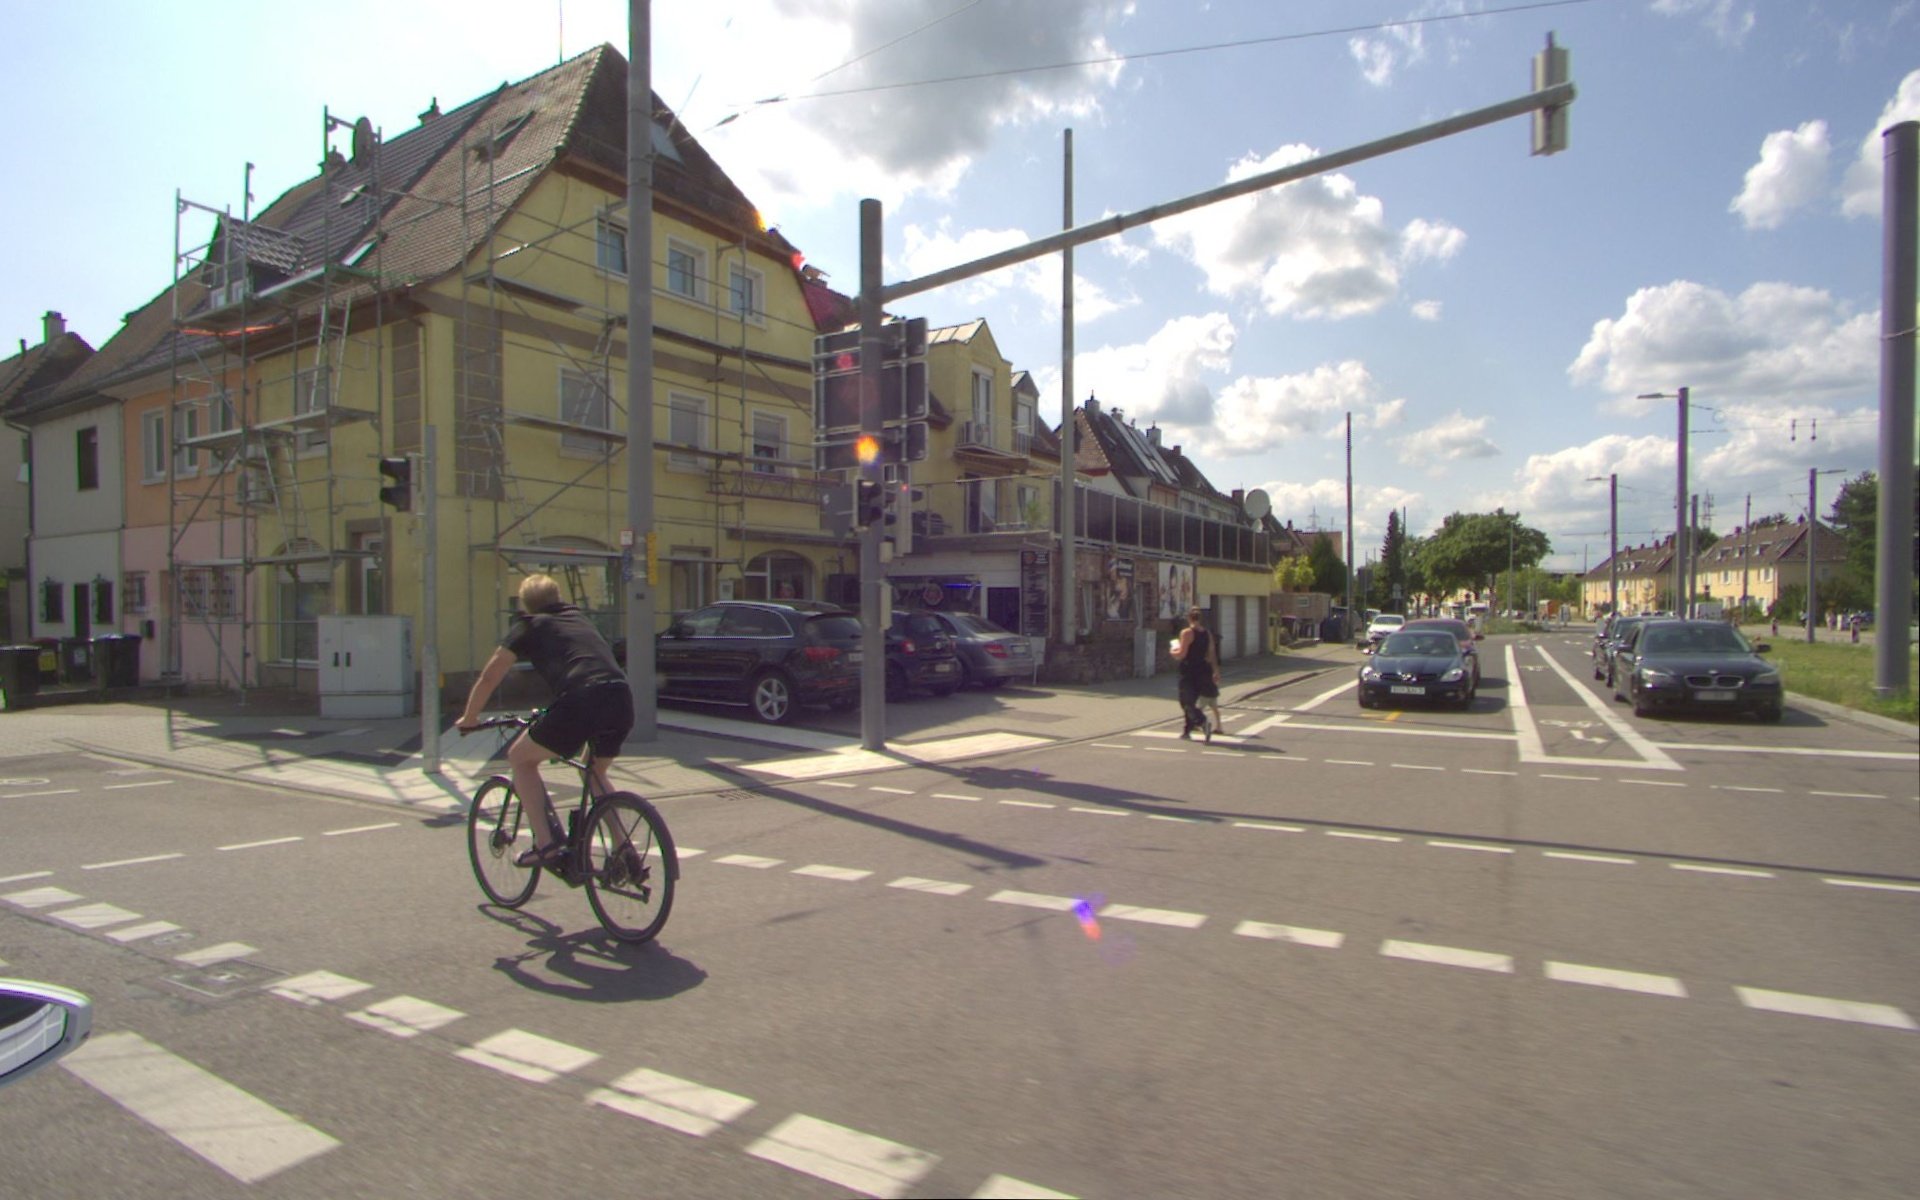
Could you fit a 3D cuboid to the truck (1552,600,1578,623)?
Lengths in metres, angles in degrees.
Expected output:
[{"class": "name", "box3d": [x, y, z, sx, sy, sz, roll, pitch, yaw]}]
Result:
[{"class": "truck", "box3d": [86.948, 1.669, 143.907, 1.964, 3.267, 5.331, 0, -2, 17]}]

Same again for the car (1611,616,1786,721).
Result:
[{"class": "car", "box3d": [11.675, 0.991, 16.108, 1.713, 1.346, 4.310, -1, 0, 29]}]

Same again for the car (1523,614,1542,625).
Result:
[{"class": "car", "box3d": [90.435, 3.104, 158.217, 1.965, 1.746, 3.994, 0, -2, 20]}]

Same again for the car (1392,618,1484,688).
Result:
[{"class": "car", "box3d": [11.368, 1.209, 23.661, 1.713, 1.492, 4.313, -1, -2, 29]}]

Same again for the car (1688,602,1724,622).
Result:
[{"class": "car", "box3d": [69.532, 1.139, 93.371, 1.968, 1.746, 3.988, 0, -2, 25]}]

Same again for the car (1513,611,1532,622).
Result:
[{"class": "car", "box3d": [93.437, 2.824, 166.397, 1.964, 1.746, 3.995, 0, -2, 19]}]

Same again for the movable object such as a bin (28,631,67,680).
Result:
[{"class": "movable object such as a bin", "box3d": [-18.683, 1.128, 20.505, 0.550, 0.959, 0.467, 0, 0, 32]}]

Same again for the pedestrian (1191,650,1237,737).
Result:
[{"class": "pedestrian", "box3d": [3.444, 1.260, 13.571, 0.480, 1.150, 0.388, 1, -1, -12]}]

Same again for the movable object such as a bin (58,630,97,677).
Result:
[{"class": "movable object such as a bin", "box3d": [-18.424, 1.110, 20.912, 0.550, 0.959, 0.467, 0, 1, 32]}]

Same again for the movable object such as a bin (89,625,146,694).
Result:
[{"class": "movable object such as a bin", "box3d": [-14.221, 0.990, 16.903, 0.843, 1.119, 0.510, -1, 0, 33]}]

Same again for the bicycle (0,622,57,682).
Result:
[{"class": "bicycle", "box3d": [-19.068, 1.021, 19.060, 0.775, 1.120, 2.656, 0, 1, 31]}]

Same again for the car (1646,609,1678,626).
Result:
[{"class": "car", "box3d": [74.129, 1.861, 105.838, 1.966, 1.746, 3.991, 0, -2, 23]}]

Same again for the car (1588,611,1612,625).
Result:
[{"class": "car", "box3d": [82.857, 2.348, 129.687, 1.966, 1.746, 3.991, 0, -2, 23]}]

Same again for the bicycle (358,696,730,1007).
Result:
[{"class": "bicycle", "box3d": [-2.133, 1.129, 5.040, 1.944, 1.090, 0.825, 1, 2, 36]}]

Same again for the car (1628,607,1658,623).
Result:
[{"class": "car", "box3d": [76.680, 1.695, 112.414, 1.966, 1.746, 3.991, 0, -2, 23]}]

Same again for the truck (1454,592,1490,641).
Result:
[{"class": "truck", "box3d": [42.522, 1.475, 83.085, 2.473, 3.874, 7.613, 0, -2, 29]}]

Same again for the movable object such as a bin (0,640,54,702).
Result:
[{"class": "movable object such as a bin", "box3d": [-14.773, 1.111, 15.822, 0.731, 0.930, 0.510, -1, 0, 33]}]

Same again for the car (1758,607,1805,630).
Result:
[{"class": "car", "box3d": [65.250, 1.495, 79.609, 1.968, 1.746, 3.988, 0, -2, 25]}]

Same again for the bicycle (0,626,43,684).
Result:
[{"class": "bicycle", "box3d": [-19.698, 1.117, 19.433, 0.681, 1.134, 2.720, 0, 1, 31]}]

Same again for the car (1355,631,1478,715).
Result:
[{"class": "car", "box3d": [8.399, 1.240, 18.218, 1.713, 1.325, 4.313, -1, -2, 29]}]

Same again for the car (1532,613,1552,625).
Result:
[{"class": "car", "box3d": [87.931, 2.924, 151.325, 1.965, 1.746, 3.994, 0, -2, 20]}]

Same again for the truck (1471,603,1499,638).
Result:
[{"class": "truck", "box3d": [55.048, 2.230, 104.912, 2.344, 3.582, 8.499, 0, -2, 29]}]

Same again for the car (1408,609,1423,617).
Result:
[{"class": "car", "box3d": [102.212, 2.921, 224.812, 1.961, 1.746, 4.001, 0, -2, 8]}]

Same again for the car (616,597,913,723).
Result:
[{"class": "car", "box3d": [-2.917, 0.826, 14.783, 4.072, 1.616, 1.990, -1, -2, 33]}]

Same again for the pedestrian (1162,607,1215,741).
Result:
[{"class": "pedestrian", "box3d": [2.922, 0.932, 12.798, 0.541, 1.664, 0.399, 1, -1, -34]}]

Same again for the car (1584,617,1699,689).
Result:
[{"class": "car", "box3d": [15.078, 1.100, 22.343, 1.713, 1.346, 4.310, -1, 0, 29]}]

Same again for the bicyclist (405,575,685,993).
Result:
[{"class": "bicyclist", "box3d": [-2.053, 0.789, 4.975, 1.069, 1.818, 0.825, 1, 2, 35]}]

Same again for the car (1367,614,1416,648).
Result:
[{"class": "car", "box3d": [20.349, 1.476, 47.177, 1.713, 1.492, 4.313, -1, -2, 29]}]

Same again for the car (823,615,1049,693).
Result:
[{"class": "car", "box3d": [-0.500, 1.001, 19.486, 4.073, 1.368, 1.864, -1, -2, 33]}]

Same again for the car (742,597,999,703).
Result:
[{"class": "car", "box3d": [-1.578, 0.822, 17.275, 4.072, 1.616, 1.990, -1, -2, 33]}]

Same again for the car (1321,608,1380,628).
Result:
[{"class": "car", "box3d": [30.559, 1.401, 78.430, 4.258, 1.492, 1.948, 0, -2, 24]}]

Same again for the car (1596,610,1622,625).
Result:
[{"class": "car", "box3d": [80.644, 2.149, 124.475, 1.966, 1.746, 3.991, 0, -2, 23]}]

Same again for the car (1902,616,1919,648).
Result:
[{"class": "car", "box3d": [43.439, 1.474, 44.034, 1.707, 1.422, 4.003, 4, 1, 25]}]
